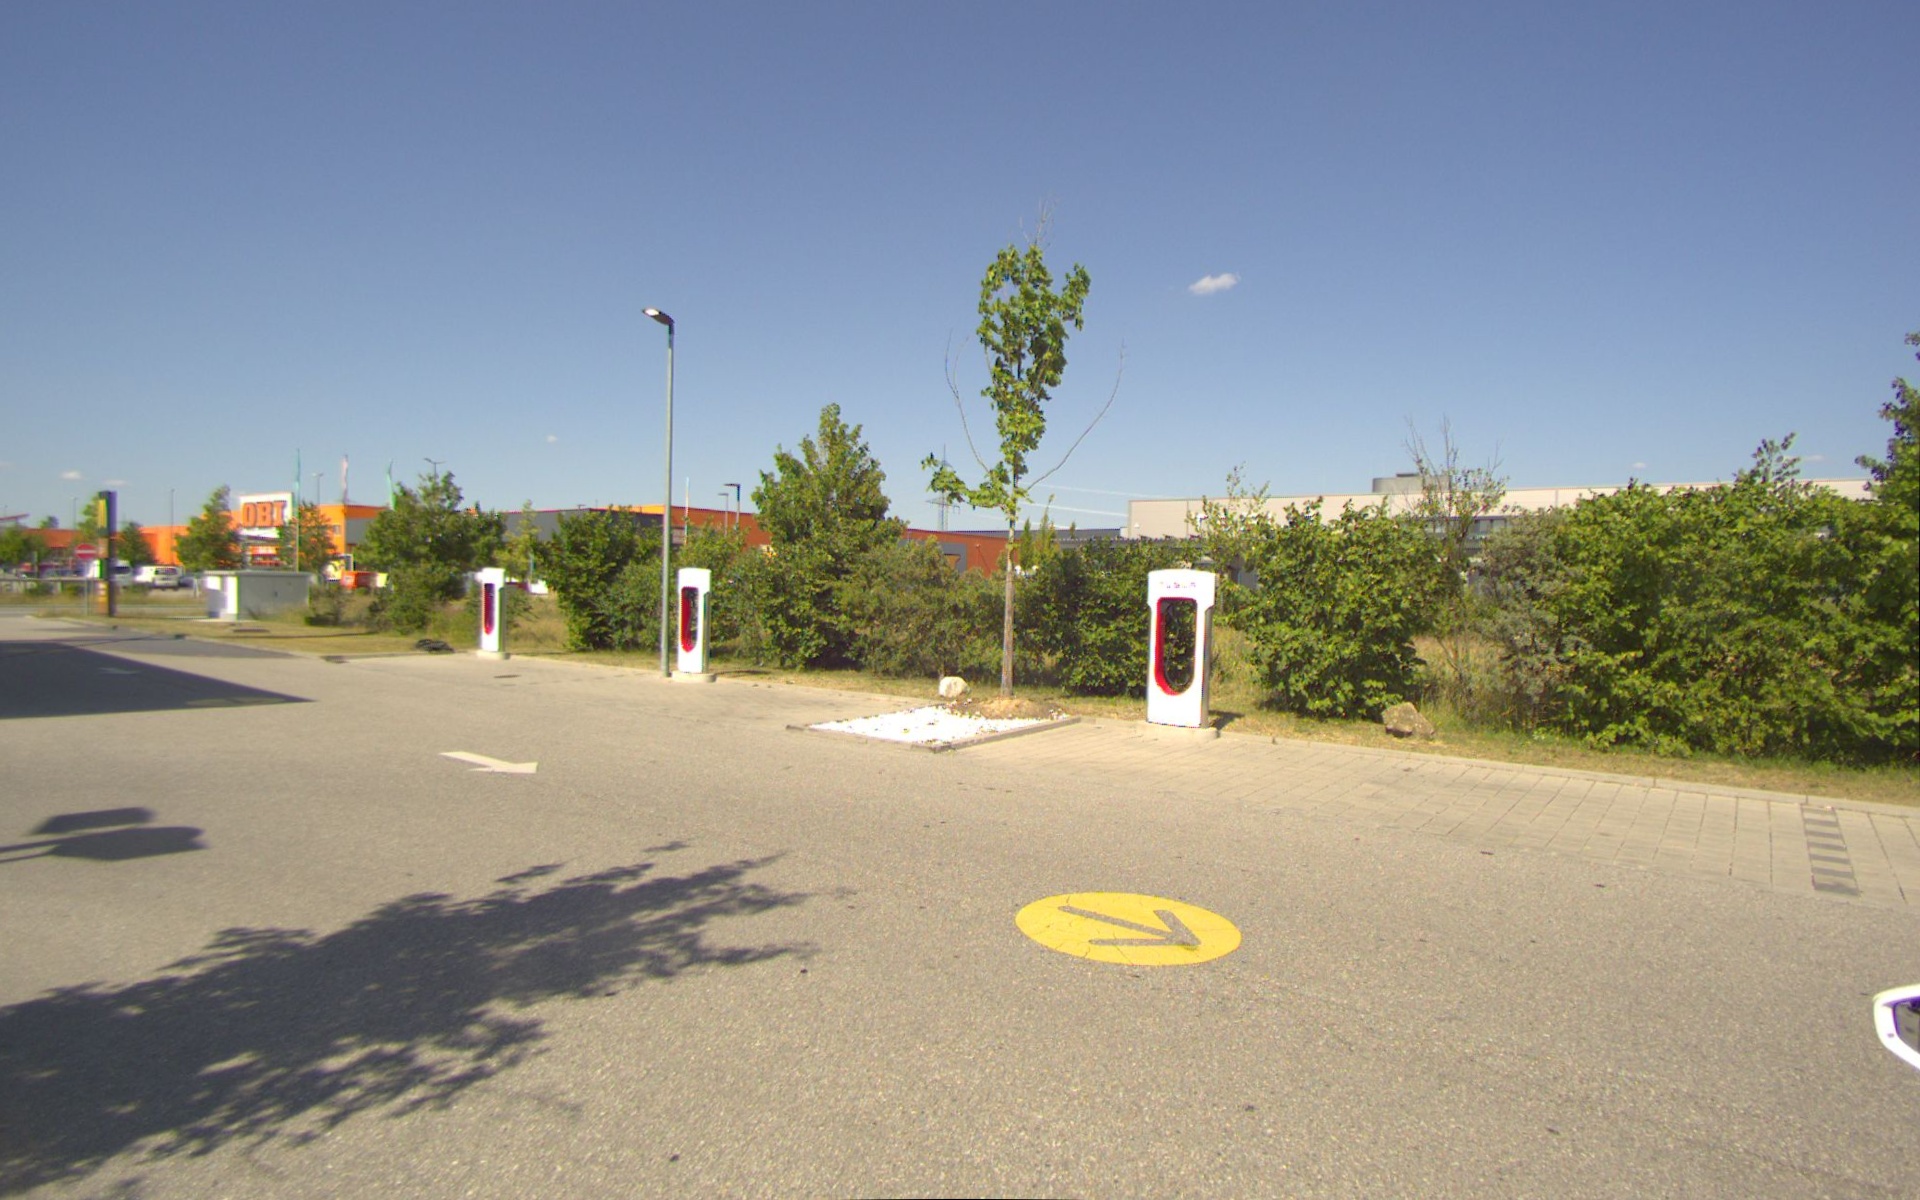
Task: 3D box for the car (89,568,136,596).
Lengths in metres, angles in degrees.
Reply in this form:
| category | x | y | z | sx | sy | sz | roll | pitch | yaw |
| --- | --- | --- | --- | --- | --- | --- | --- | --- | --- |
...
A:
| category | x | y | z | sx | sy | sz | roll | pitch | yaw |
| --- | --- | --- | --- | --- | --- | --- | --- | --- | --- |
| car | -64.547 | -1.389 | 76.472 | 3.938 | 2.040 | 1.992 | 1 | 0 | 39 |

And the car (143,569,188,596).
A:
| category | x | y | z | sx | sy | sz | roll | pitch | yaw |
| --- | --- | --- | --- | --- | --- | --- | --- | --- | --- |
| car | -62.794 | -1.351 | 79.372 | 3.938 | 2.040 | 1.992 | 1 | 0 | 39 |
